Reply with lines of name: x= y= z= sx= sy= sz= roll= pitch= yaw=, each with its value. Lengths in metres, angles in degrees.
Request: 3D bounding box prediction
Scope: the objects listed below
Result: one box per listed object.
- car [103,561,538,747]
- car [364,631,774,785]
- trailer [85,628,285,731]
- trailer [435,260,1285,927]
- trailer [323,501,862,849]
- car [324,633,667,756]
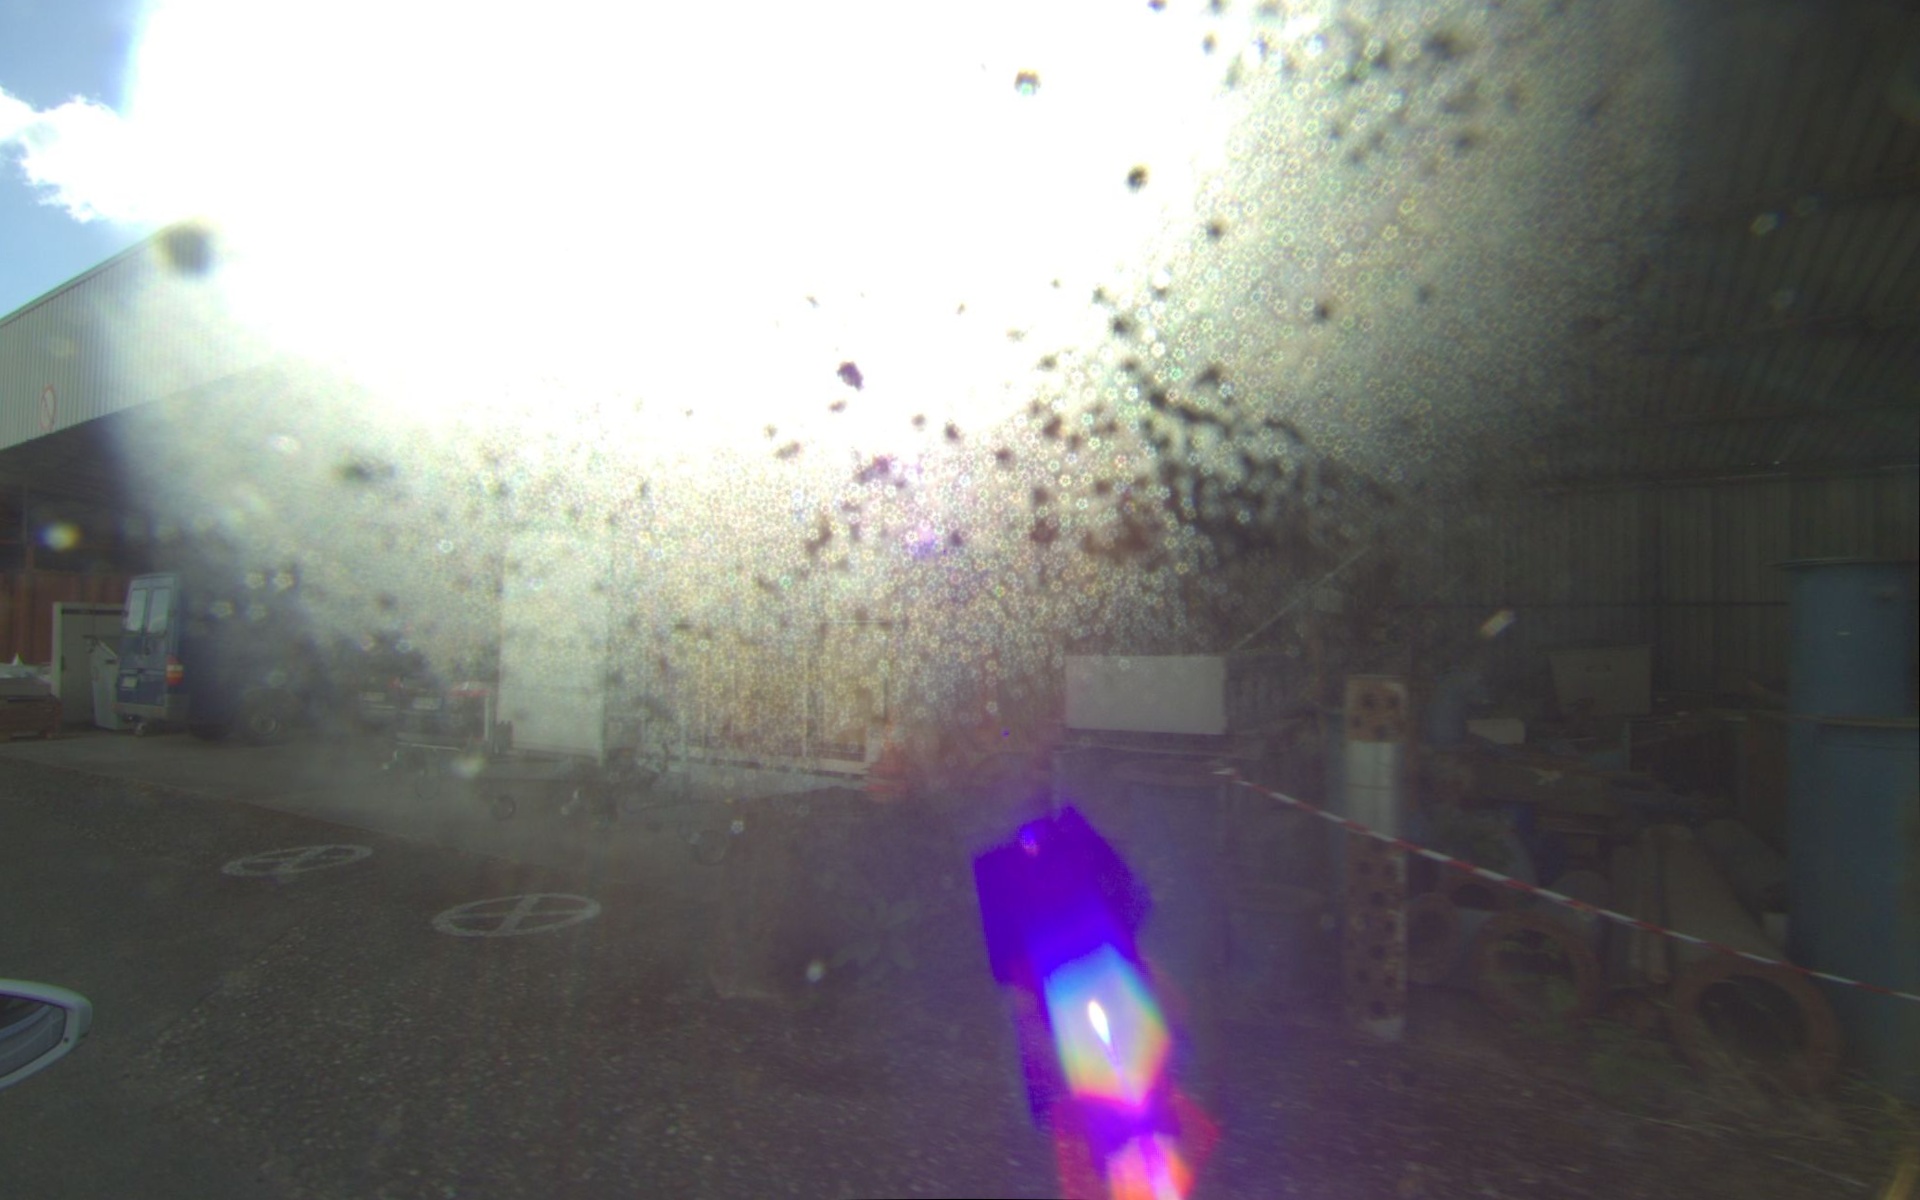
car: x=-9.415 y=0.833 z=15.322 sx=2.054 sy=2.325 sz=5.210 roll=-1 pitch=-3 yaw=32
car: x=-4.325 y=1.119 z=11.830 sx=1.837 sy=1.451 sz=4.341 roll=-1 pitch=-2 yaw=29
trailer: x=-12.168 y=1.223 z=15.771 sx=1.620 sy=1.480 sz=2.089 roll=-2 pitch=-4 yaw=36
trailer: x=0.519 y=0.157 z=10.049 sx=2.638 sy=3.337 sz=10.274 roll=0 pitch=-2 yaw=33
trailer: x=-2.977 y=0.596 z=9.175 sx=1.665 sy=2.365 sz=4.533 roll=0 pitch=-2 yaw=33
car: x=-6.377 y=1.220 z=14.223 sx=1.824 sy=1.472 sz=4.101 roll=-1 pitch=-2 yaw=32
